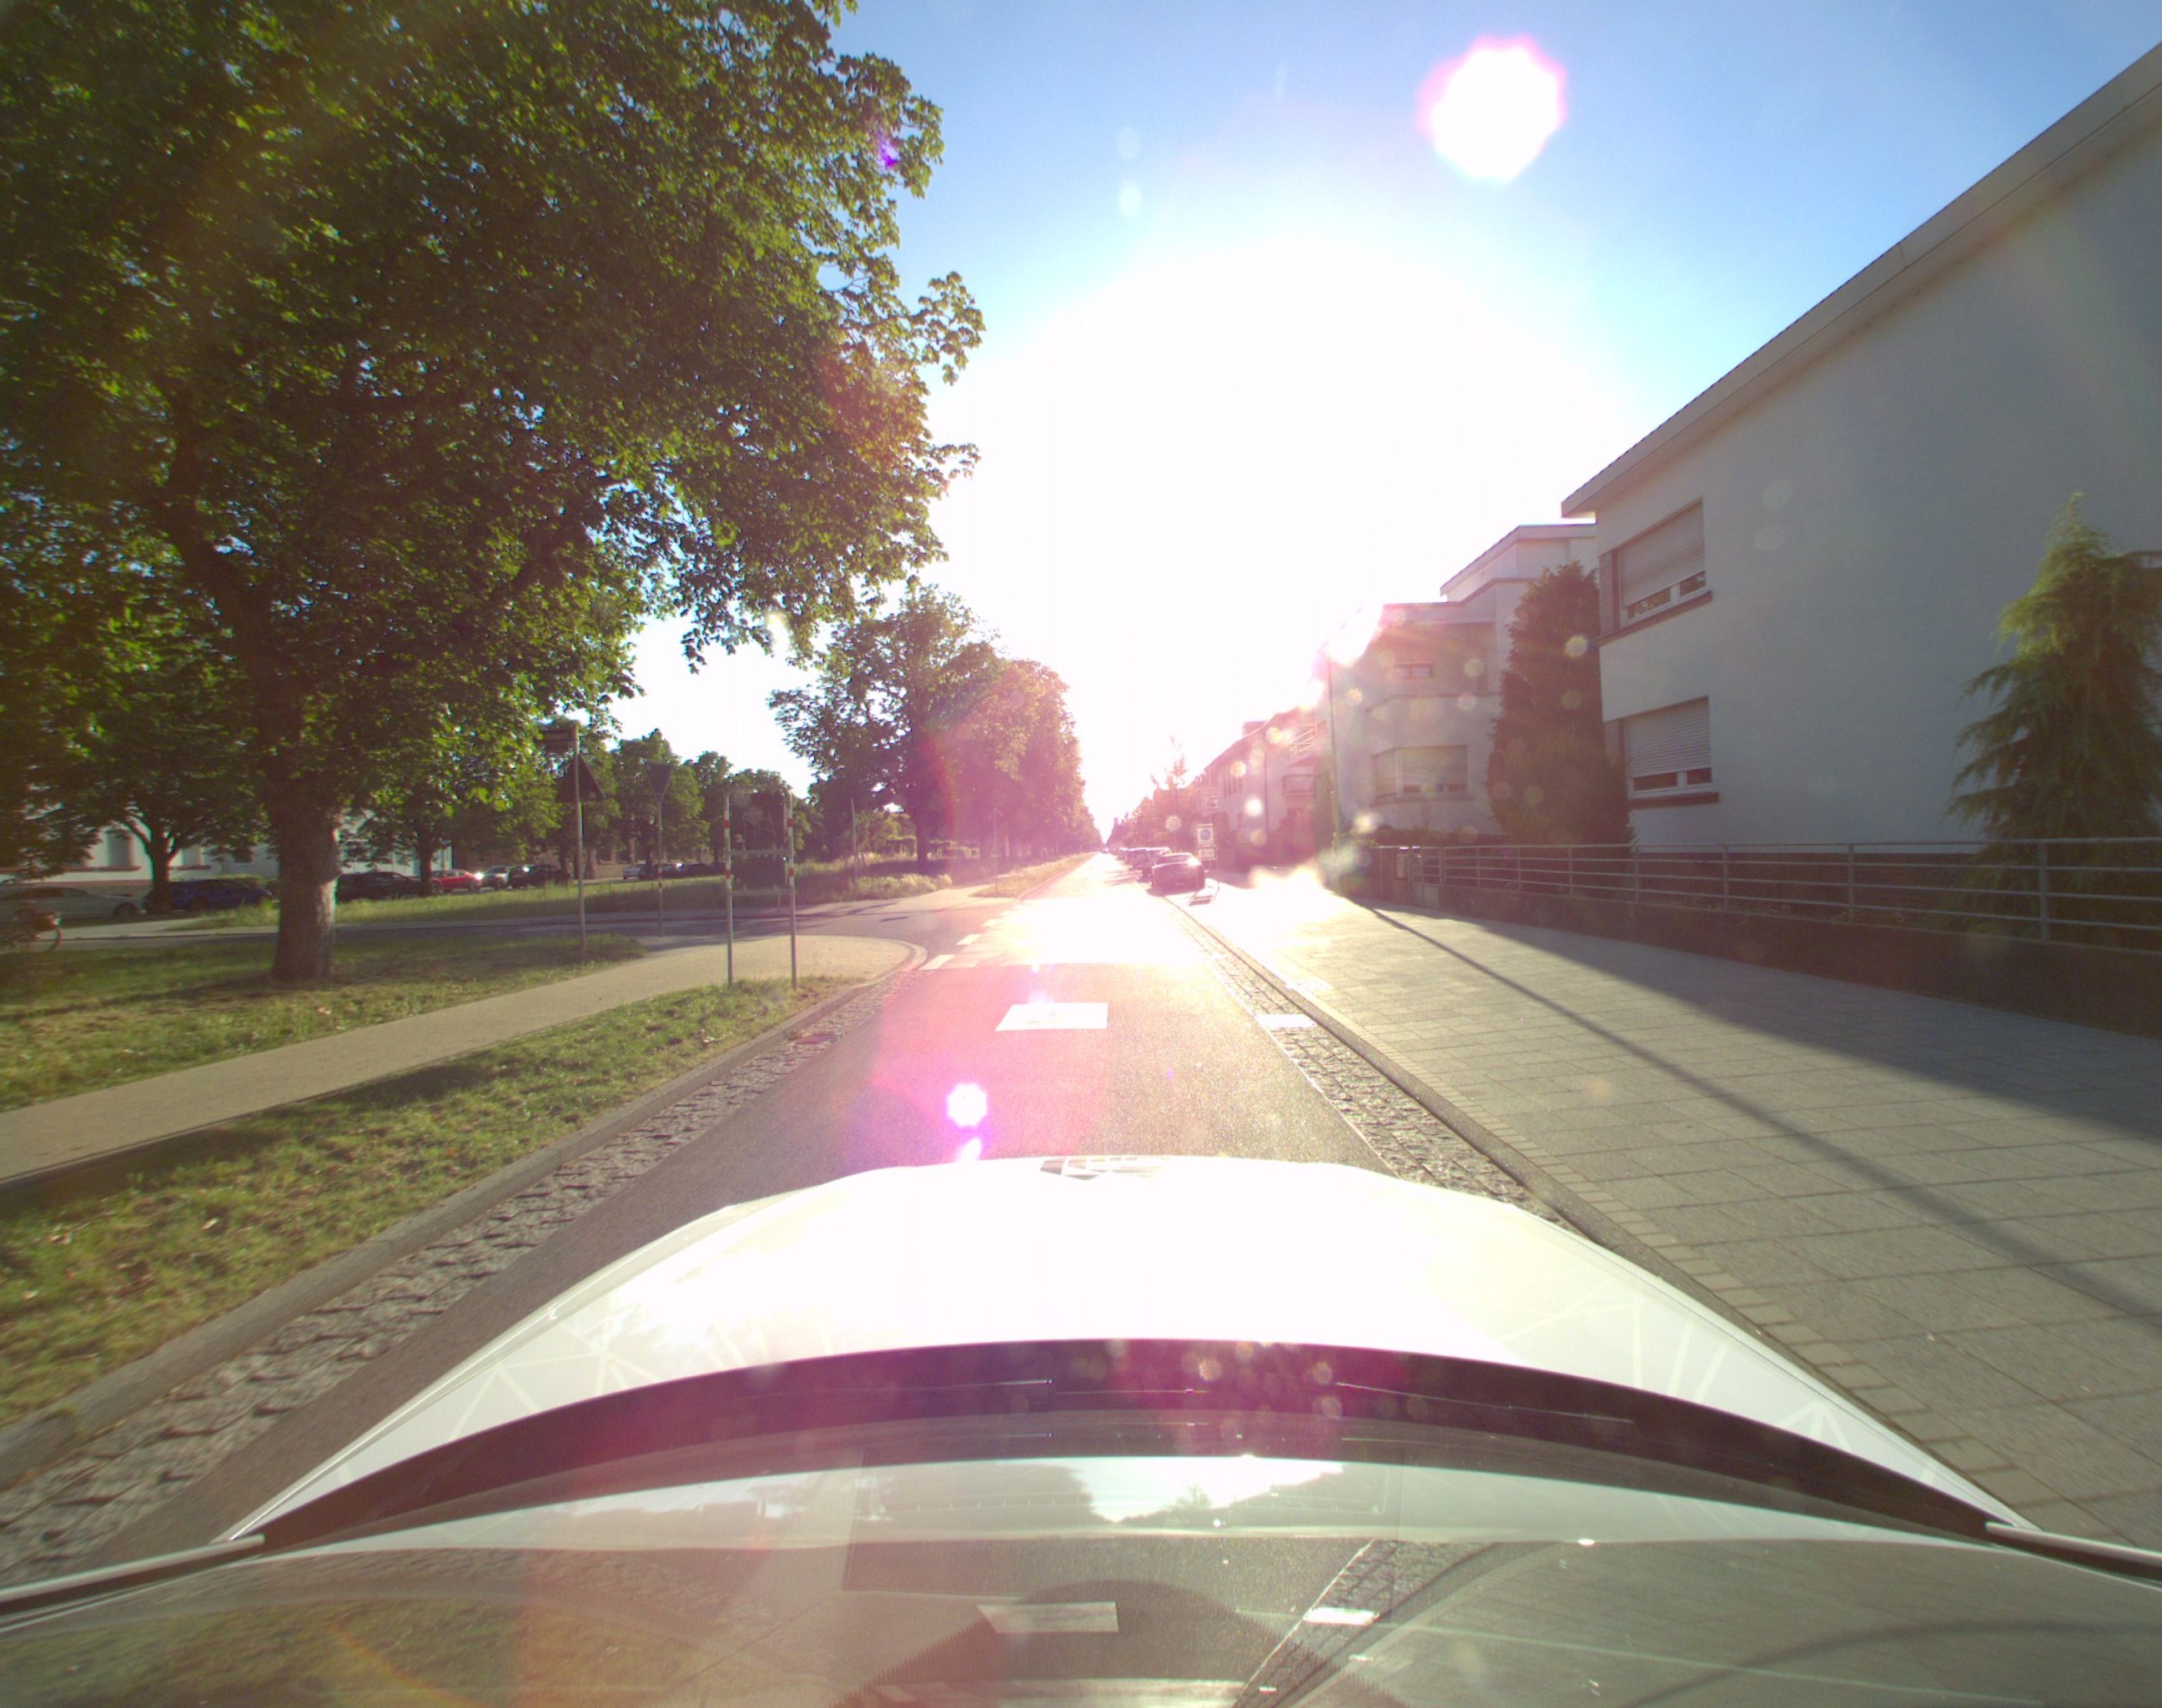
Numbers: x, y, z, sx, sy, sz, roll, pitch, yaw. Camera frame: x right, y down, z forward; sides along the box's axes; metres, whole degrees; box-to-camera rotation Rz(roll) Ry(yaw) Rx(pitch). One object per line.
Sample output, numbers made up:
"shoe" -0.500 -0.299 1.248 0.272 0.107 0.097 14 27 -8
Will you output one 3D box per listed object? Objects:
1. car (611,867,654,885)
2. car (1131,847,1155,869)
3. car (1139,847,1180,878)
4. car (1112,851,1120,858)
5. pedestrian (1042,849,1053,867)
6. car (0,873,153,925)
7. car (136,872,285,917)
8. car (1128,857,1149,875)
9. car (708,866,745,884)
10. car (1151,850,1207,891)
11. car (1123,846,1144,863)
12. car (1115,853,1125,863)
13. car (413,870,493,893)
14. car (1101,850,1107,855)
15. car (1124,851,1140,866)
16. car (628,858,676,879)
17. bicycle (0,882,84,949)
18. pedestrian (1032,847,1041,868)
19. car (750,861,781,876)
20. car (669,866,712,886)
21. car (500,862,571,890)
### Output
"car" -40.564 1.988 73.775 1.623 1.405 4.001 -1 0 1
"car" 4.795 0.299 63.133 1.621 1.504 3.635 -3 1 2
"car" 4.098 0.421 43.225 1.738 1.474 3.922 -5 0 1
"car" 8.316 0.061 193.115 1.645 1.541 3.269 -1 0 3
"pedestrian" -3.035 0.378 73.757 0.779 1.614 0.953 -1 0 5
"car" -36.444 1.560 28.871 1.688 1.597 4.754 -1 0 -1
"car" -36.260 1.650 34.099 1.688 1.597 4.219 -1 0 -1
"car" 5.069 1.040 71.644 1.649 1.494 3.721 -3 0 5
"car" -34.814 2.022 80.061 1.686 1.597 4.222 -1 0 1
"car" 3.768 0.588 31.888 1.768 1.288 4.275 -4 1 2
"car" 5.131 0.071 79.479 1.731 1.449 4.197 -3 0 0
"car" 6.273 0.667 130.662 1.492 1.567 3.269 -2 0 3
"car" -40.648 1.739 52.851 1.564 1.332 4.482 -1 0 3
"car" 6.878 -0.388 245.123 1.646 1.541 3.268 -1 0 2
"car" 5.568 0.484 89.394 1.586 1.510 3.594 -2 0 2
"car" -35.636 1.166 67.802 1.686 1.597 4.222 -1 0 1
"bicycle" -19.760 1.148 15.105 1.590 1.187 0.417 -2 -1 -21
"pedestrian" -3.999 0.316 73.513 0.621 1.831 0.887 -1 0 5
"car" -34.767 1.572 89.916 1.686 1.597 4.222 -1 0 1
"car" -35.238 1.980 73.616 1.686 1.597 4.222 -1 0 1
"car" -35.580 1.406 53.260 1.686 1.597 4.222 -1 0 1
